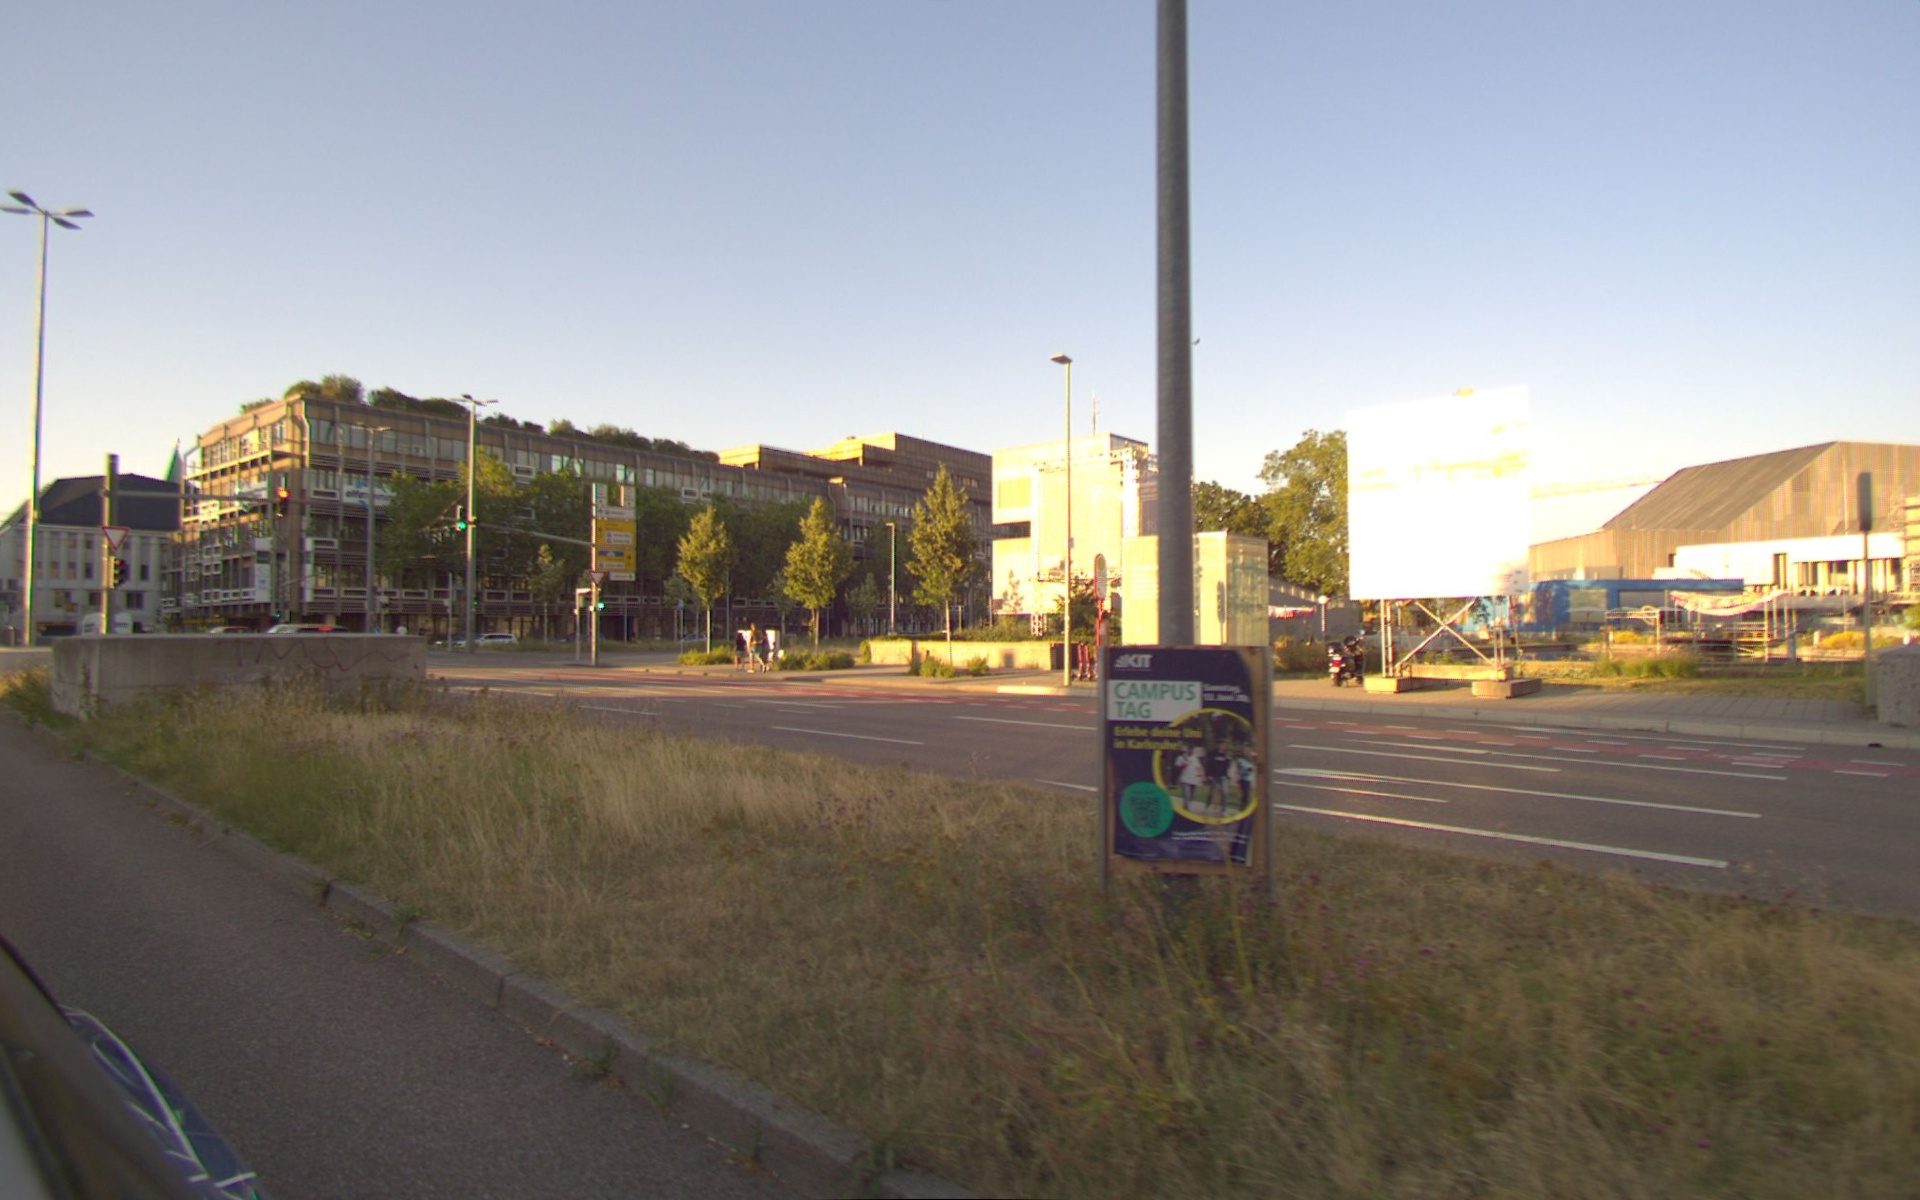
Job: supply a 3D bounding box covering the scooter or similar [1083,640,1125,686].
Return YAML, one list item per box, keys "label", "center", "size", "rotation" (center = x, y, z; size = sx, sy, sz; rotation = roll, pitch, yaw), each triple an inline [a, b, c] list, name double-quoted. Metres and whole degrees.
- label: "scooter or similar"
  center: [4.225, 1.822, 29.632]
  size: [0.422, 1.315, 1.814]
  rotation: [-1, -2, 35]

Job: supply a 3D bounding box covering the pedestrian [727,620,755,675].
- label: "pedestrian"
  center: [-8.000, 1.731, 36.990]
  size: [0.775, 1.948, 0.624]
  rotation: [-4, -2, 42]

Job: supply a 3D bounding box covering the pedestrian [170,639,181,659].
- label: "pedestrian"
  center: [-67.183, 4.173, 86.625]
  size: [0.650, 1.726, 0.643]
  rotation: [-3, -4, 43]

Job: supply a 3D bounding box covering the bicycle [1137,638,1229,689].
- label: "bicycle"
  center: [6.181, 1.737, 28.163]
  size: [2.507, 1.334, 0.611]
  rotation: [-1, -2, 40]

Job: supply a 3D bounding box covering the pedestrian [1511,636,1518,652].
- label: "pedestrian"
  center: [49.049, 3.905, 89.519]
  size: [0.380, 1.418, 0.572]
  rotation: [-1, -2, 21]

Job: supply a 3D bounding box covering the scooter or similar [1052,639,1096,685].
- label: "scooter or similar"
  center: [3.421, 1.838, 30.212]
  size: [0.499, 1.315, 1.842]
  rotation: [-1, -2, 35]

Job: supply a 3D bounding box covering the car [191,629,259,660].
- label: "car"
  center: [-38.008, 2.261, 52.304]
  size: [3.991, 1.538, 1.621]
  rotation: [-1, -2, 35]

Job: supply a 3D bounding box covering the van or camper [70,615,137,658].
- label: "van or camper"
  center: [-56.491, 2.439, 66.720]
  size: [6.156, 2.687, 2.204]
  rotation: [-3, -3, 39]

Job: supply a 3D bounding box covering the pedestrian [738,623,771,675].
- label: "pedestrian"
  center: [-7.392, 1.741, 36.352]
  size: [0.775, 1.851, 0.862]
  rotation: [-2, -3, 43]

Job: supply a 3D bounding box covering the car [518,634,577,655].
- label: "car"
  center: [-33.657, 3.654, 82.568]
  size: [2.071, 1.663, 3.947]
  rotation: [-2, -3, 39]

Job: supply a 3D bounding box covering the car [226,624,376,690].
- label: "car"
  center: [-16.114, 1.343, 24.678]
  size: [4.535, 1.477, 1.867]
  rotation: [-2, -3, 41]

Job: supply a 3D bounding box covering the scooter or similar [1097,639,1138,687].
- label: "scooter or similar"
  center: [4.578, 1.808, 29.366]
  size: [0.422, 1.315, 1.819]
  rotation: [-1, -2, 35]

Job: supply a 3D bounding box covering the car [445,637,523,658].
- label: "car"
  center: [-36.936, 3.655, 78.648]
  size: [1.999, 1.597, 5.093]
  rotation: [-3, -3, 41]

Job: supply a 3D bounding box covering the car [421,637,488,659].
- label: "car"
  center: [-39.919, 3.815, 80.014]
  size: [1.857, 1.663, 4.343]
  rotation: [-3, -3, 39]

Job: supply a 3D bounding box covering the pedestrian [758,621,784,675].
- label: "pedestrian"
  center: [-6.893, 1.748, 36.924]
  size: [0.648, 1.948, 0.652]
  rotation: [-3, -4, 43]

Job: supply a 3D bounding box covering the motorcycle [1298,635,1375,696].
- label: "motorcycle"
  center: [9.733, 1.635, 26.050]
  size: [0.839, 1.393, 3.200]
  rotation: [-1, -1, 39]

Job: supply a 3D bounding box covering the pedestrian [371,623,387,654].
- label: "pedestrian"
  center: [-36.688, 2.433, 63.901]
  size: [0.680, 1.946, 0.636]
  rotation: [-1, -2, 39]

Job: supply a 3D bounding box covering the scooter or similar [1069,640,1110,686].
- label: "scooter or similar"
  center: [3.844, 1.836, 29.929]
  size: [0.416, 1.315, 1.771]
  rotation: [-1, -2, 35]
